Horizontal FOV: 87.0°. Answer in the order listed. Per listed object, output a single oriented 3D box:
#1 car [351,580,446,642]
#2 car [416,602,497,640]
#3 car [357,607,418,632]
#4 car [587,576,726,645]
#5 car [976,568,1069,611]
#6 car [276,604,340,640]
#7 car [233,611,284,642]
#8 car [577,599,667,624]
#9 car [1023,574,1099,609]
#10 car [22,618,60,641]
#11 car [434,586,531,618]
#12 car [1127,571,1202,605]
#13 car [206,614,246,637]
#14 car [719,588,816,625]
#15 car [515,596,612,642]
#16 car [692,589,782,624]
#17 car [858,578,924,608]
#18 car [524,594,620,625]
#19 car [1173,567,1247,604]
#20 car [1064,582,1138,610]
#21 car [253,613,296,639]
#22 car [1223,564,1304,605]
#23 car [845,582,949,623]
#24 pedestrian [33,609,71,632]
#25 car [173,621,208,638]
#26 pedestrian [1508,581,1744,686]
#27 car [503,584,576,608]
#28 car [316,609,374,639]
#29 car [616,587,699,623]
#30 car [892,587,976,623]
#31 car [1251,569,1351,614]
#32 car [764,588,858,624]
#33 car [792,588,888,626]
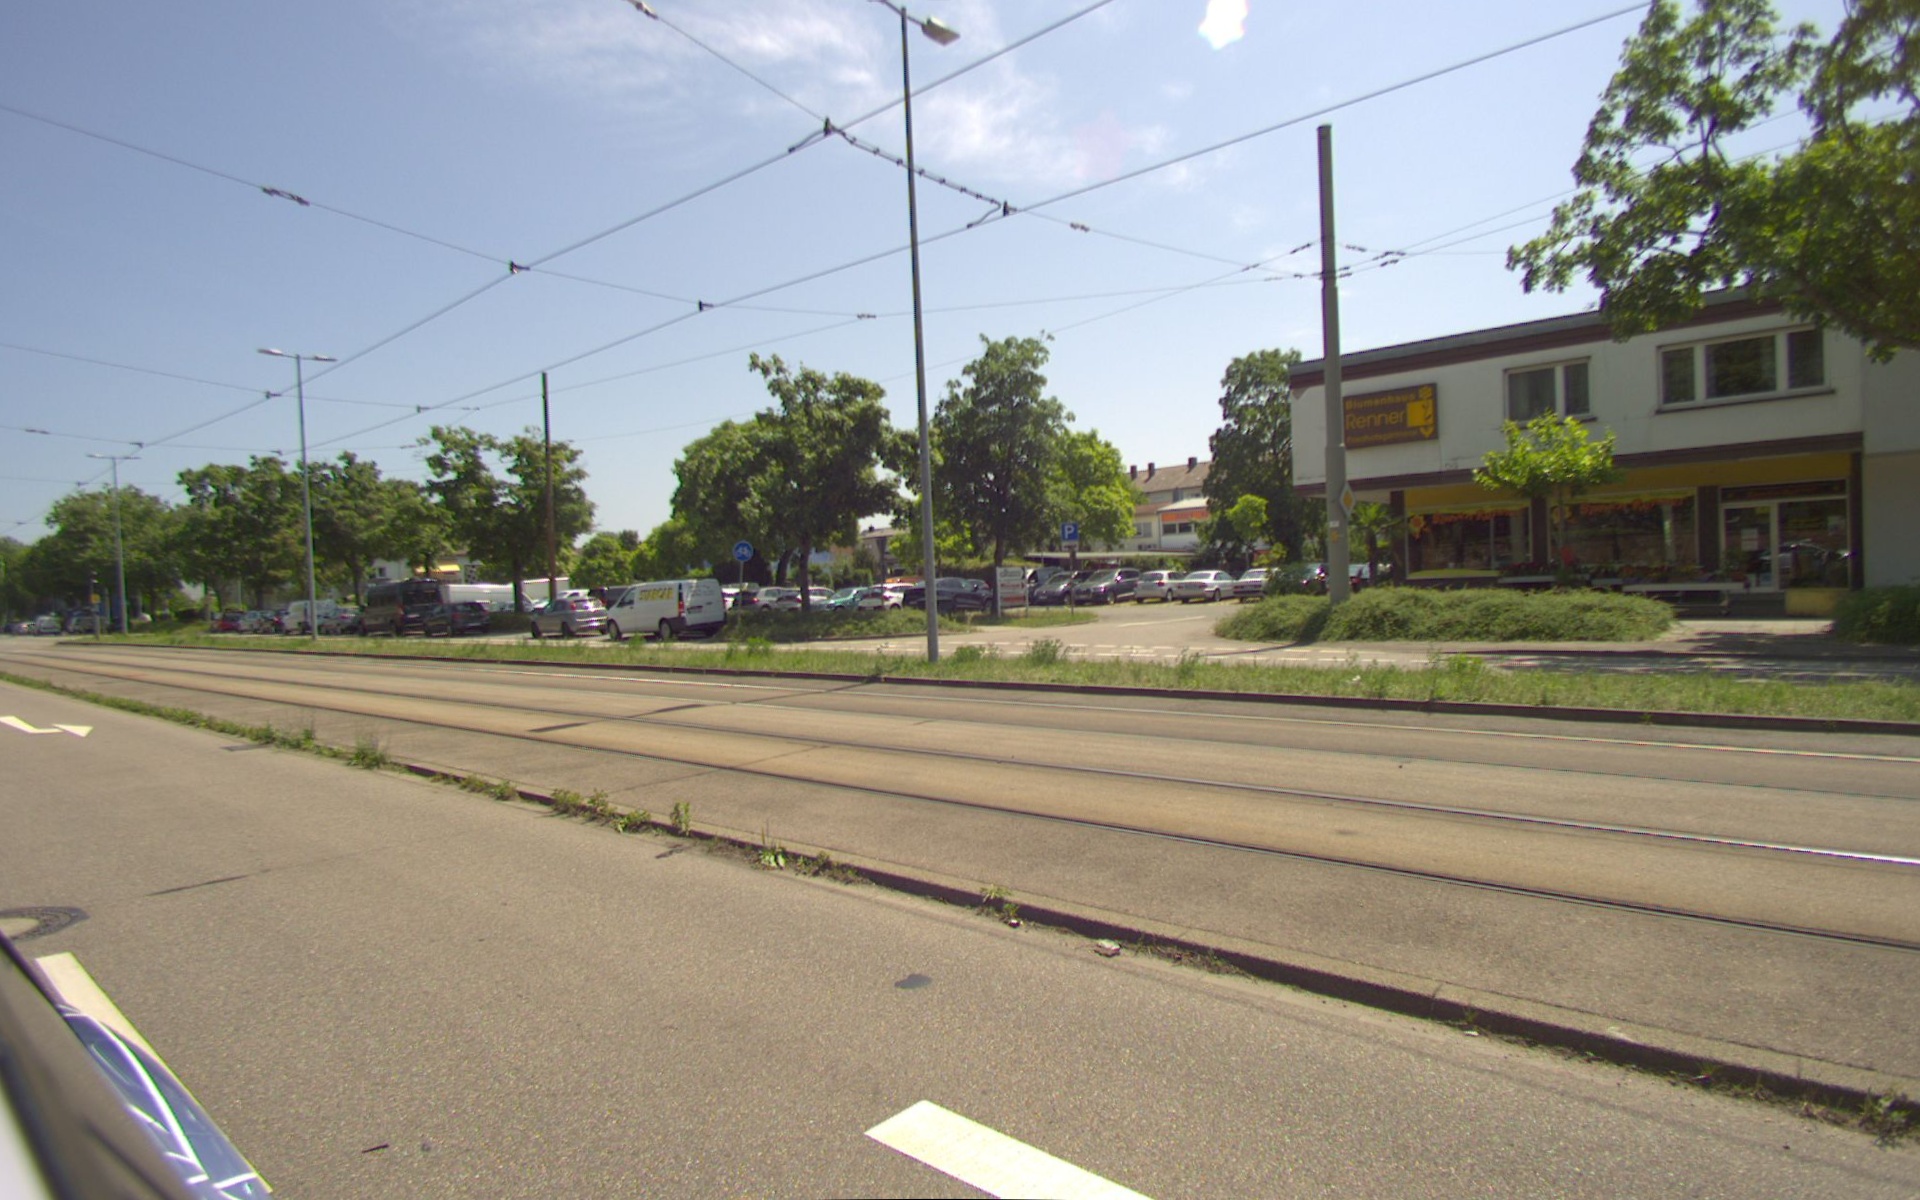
[{"bbox_3d":[-27.056,0.506,48.682,5.666,2.859,2.214,-1,0,42],"label":"car"},{"bbox_3d":[-22.185,0.904,44.574,3.751,1.589,1.950,-1,0,42],"label":"car"},{"bbox_3d":[-46.264,1.577,81.858,1.712,1.888,3.953,-1,0,35],"label":"car"},{"bbox_3d":[-10.259,0.363,33.970,5.342,2.025,1.856,-1,4,42],"label":"car"},{"bbox_3d":[3.332,-0.550,52.697,2.225,2.085,5.055,-1,0,41],"label":"car"},{"bbox_3d":[-37.372,1.214,57.984,4.816,1.963,1.899,-1,0,42],"label":"car"},{"bbox_3d":[-44.990,1.676,64.864,4.495,1.907,1.614,-1,0,41],"label":"car"},{"bbox_3d":[-18.408,0.627,55.249,2.030,1.152,4.210,-2,1,37],"label":"car"},{"bbox_3d":[5.111,-0.445,51.047,1.804,1.669,3.943,-1,0,43],"label":"car"},{"bbox_3d":[-82.312,2.611,90.636,4.208,2.005,1.799,-1,0,38],"label":"car"},{"bbox_3d":[-31.109,0.107,66.042,2.029,1.970,5.363,-1,0,43],"label":"car"},{"bbox_3d":[9.731,-0.570,47.906,1.661,1.531,3.943,-1,0,43],"label":"car"},{"bbox_3d":[-50.029,1.732,68.962,3.423,1.491,1.561,-1,0,43],"label":"car"},{"bbox_3d":[-8.729,0.261,46.193,2.018,1.501,4.117,-2,1,34],"label":"car"},{"bbox_3d":[-14.975,0.710,38.168,4.124,1.513,1.633,-1,4,42],"label":"car"},{"bbox_3d":[-10.600,0.287,48.365,1.827,1.501,4.030,-2,1,34],"label":"car"},{"bbox_3d":[-4.025,-0.446,59.503,1.689,1.665,4.082,-2,0,35],"label":"car"},{"bbox_3d":[-22.637,0.526,59.190,1.997,1.588,4.866,-1,1,38],"label":"car"},{"bbox_3d":[11.336,-0.648,45.785,1.520,1.591,3.943,-1,0,43],"label":"car"},{"bbox_3d":[6.835,-0.202,48.892,1.764,1.294,3.675,-1,0,43],"label":"car"},{"bbox_3d":[-41.632,1.554,61.440,3.261,1.489,1.411,-1,0,41],"label":"car"},{"bbox_3d":[13.149,-0.672,43.771,1.804,1.669,3.943,-1,0,43],"label":"car"},{"bbox_3d":[-2.558,0.071,41.809,1.983,1.501,4.120,-2,1,39],"label":"car"},{"bbox_3d":[-80.647,1.804,89.887,3.997,2.029,1.973,-1,0,41],"label":"pedestrian"},{"bbox_3d":[-58.747,2.217,77.287,3.423,1.167,1.561,-1,0,43],"label":"car"},{"bbox_3d":[14.175,0.654,21.625,3.997,2.029,1.973,-1,0,41],"label":"pedestrian"},{"bbox_3d":[-37.322,-0.365,89.959,2.145,2.078,5.674,-1,0,38],"label":"car"},{"bbox_3d":[-32.937,1.267,54.167,3.608,1.475,1.744,-1,0,42],"label":"car"},{"bbox_3d":[-16.115,0.265,54.097,1.794,1.730,3.951,-2,1,37],"label":"car"},{"bbox_3d":[-0.988,0.180,39.681,1.639,1.241,3.385,-2,1,34],"label":"car"},{"bbox_3d":[11.381,-0.313,33.643,1.682,1.306,3.944,-2,1,43],"label":"car"},{"bbox_3d":[-6.579,0.245,45.005,1.855,1.501,4.099,-1,0,34],"label":"car"},{"bbox_3d":[-5.049,0.260,43.007,1.908,1.501,3.995,-1,0,34],"label":"car"}]
